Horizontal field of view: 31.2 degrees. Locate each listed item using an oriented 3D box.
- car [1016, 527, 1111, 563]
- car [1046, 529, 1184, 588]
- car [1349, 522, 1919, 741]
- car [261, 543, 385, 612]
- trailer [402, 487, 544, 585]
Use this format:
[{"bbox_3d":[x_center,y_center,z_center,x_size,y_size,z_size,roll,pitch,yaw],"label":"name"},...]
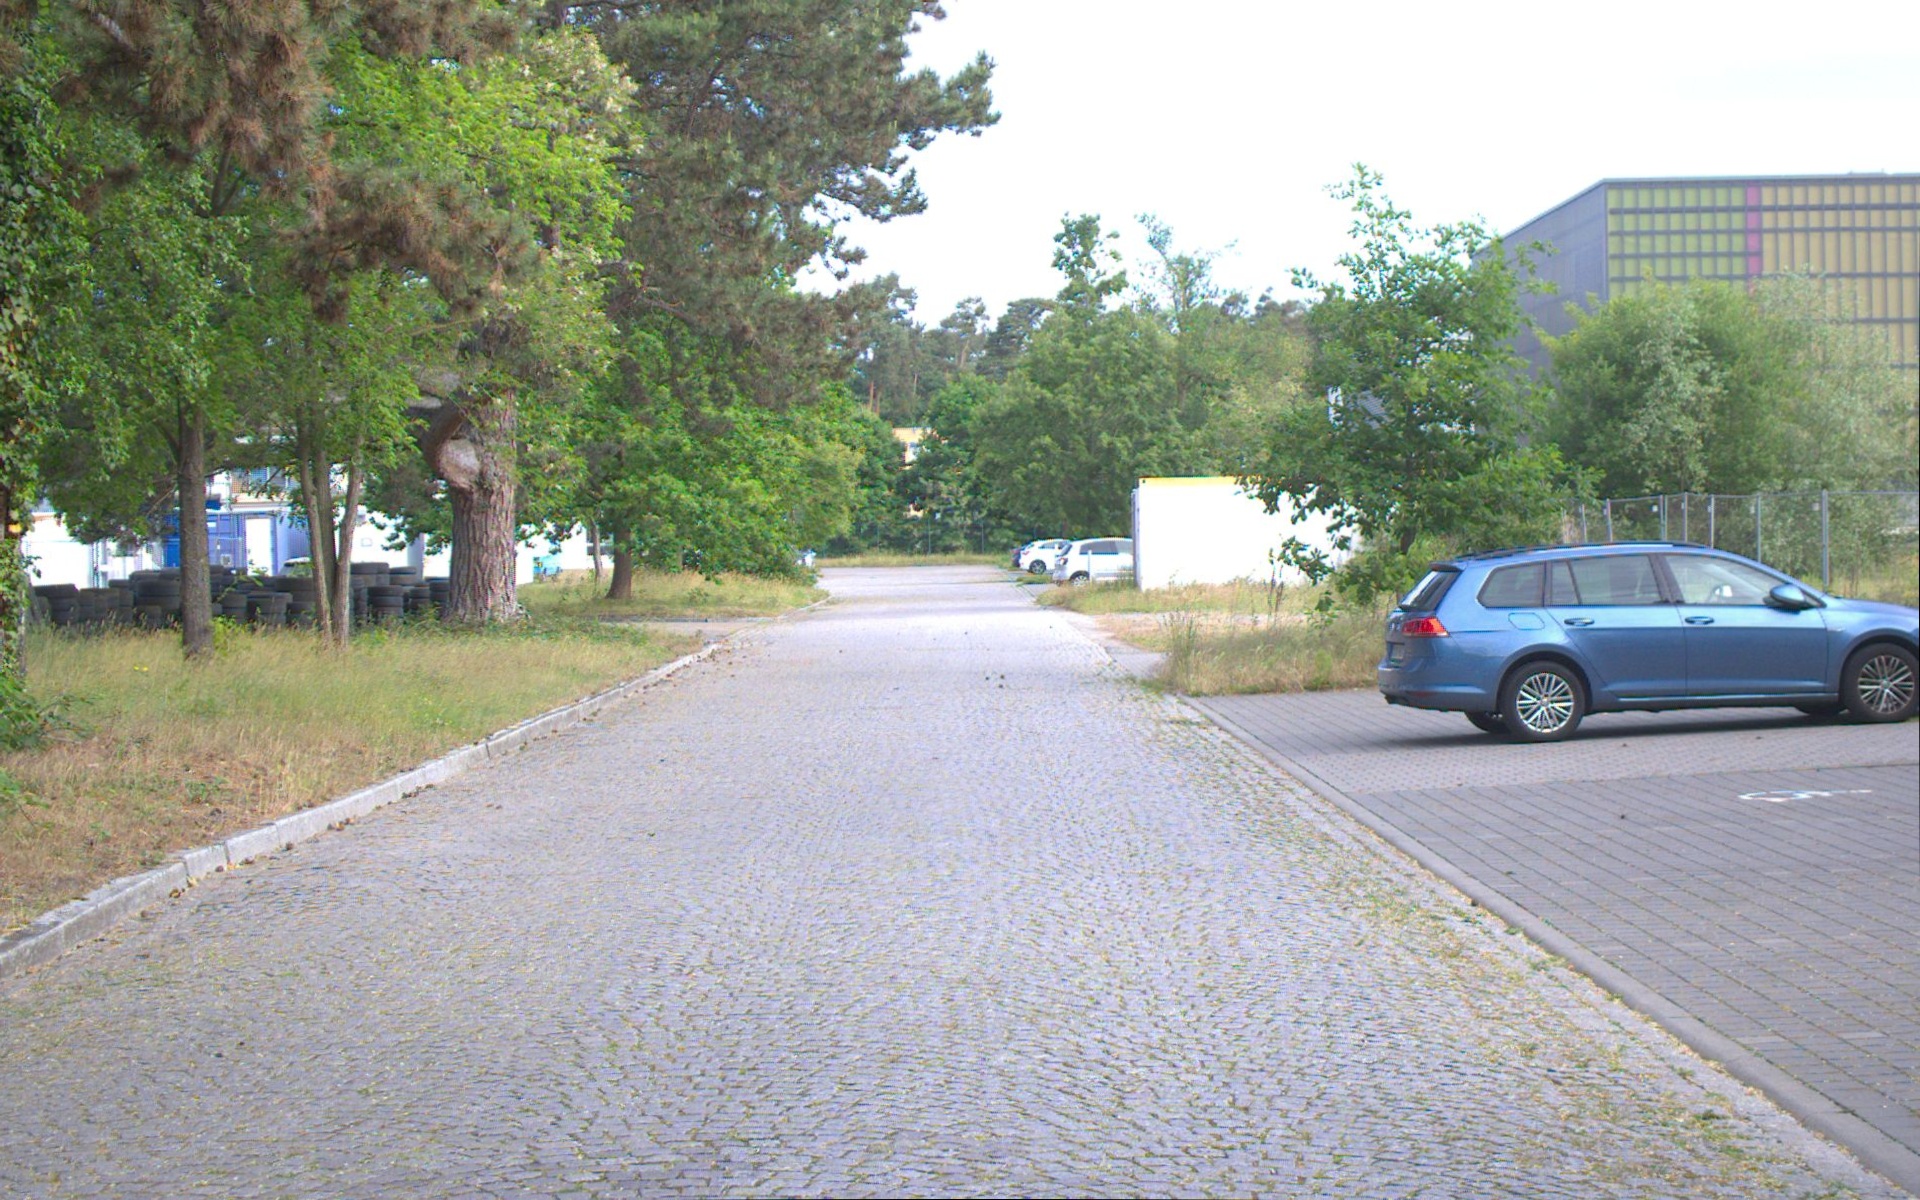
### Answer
[{"bbox_3d":[4.406,-2.348,146.503,4.025,1.496,1.548,-1,1,1],"label":"car"},{"bbox_3d":[4.515,-1.227,100.360,3.849,1.649,1.686,-1,1,-3],"label":"car"},{"bbox_3d":[5.468,0.214,26.840,4.521,1.438,1.824,-3,1,-3],"label":"car"},{"bbox_3d":[-13.983,-0.509,75.608,1.767,1.448,3.488,-1,1,5],"label":"car"},{"bbox_3d":[-15.924,-2.118,113.043,3.159,3.057,8.784,-1,1,2],"label":"trailer"}]
